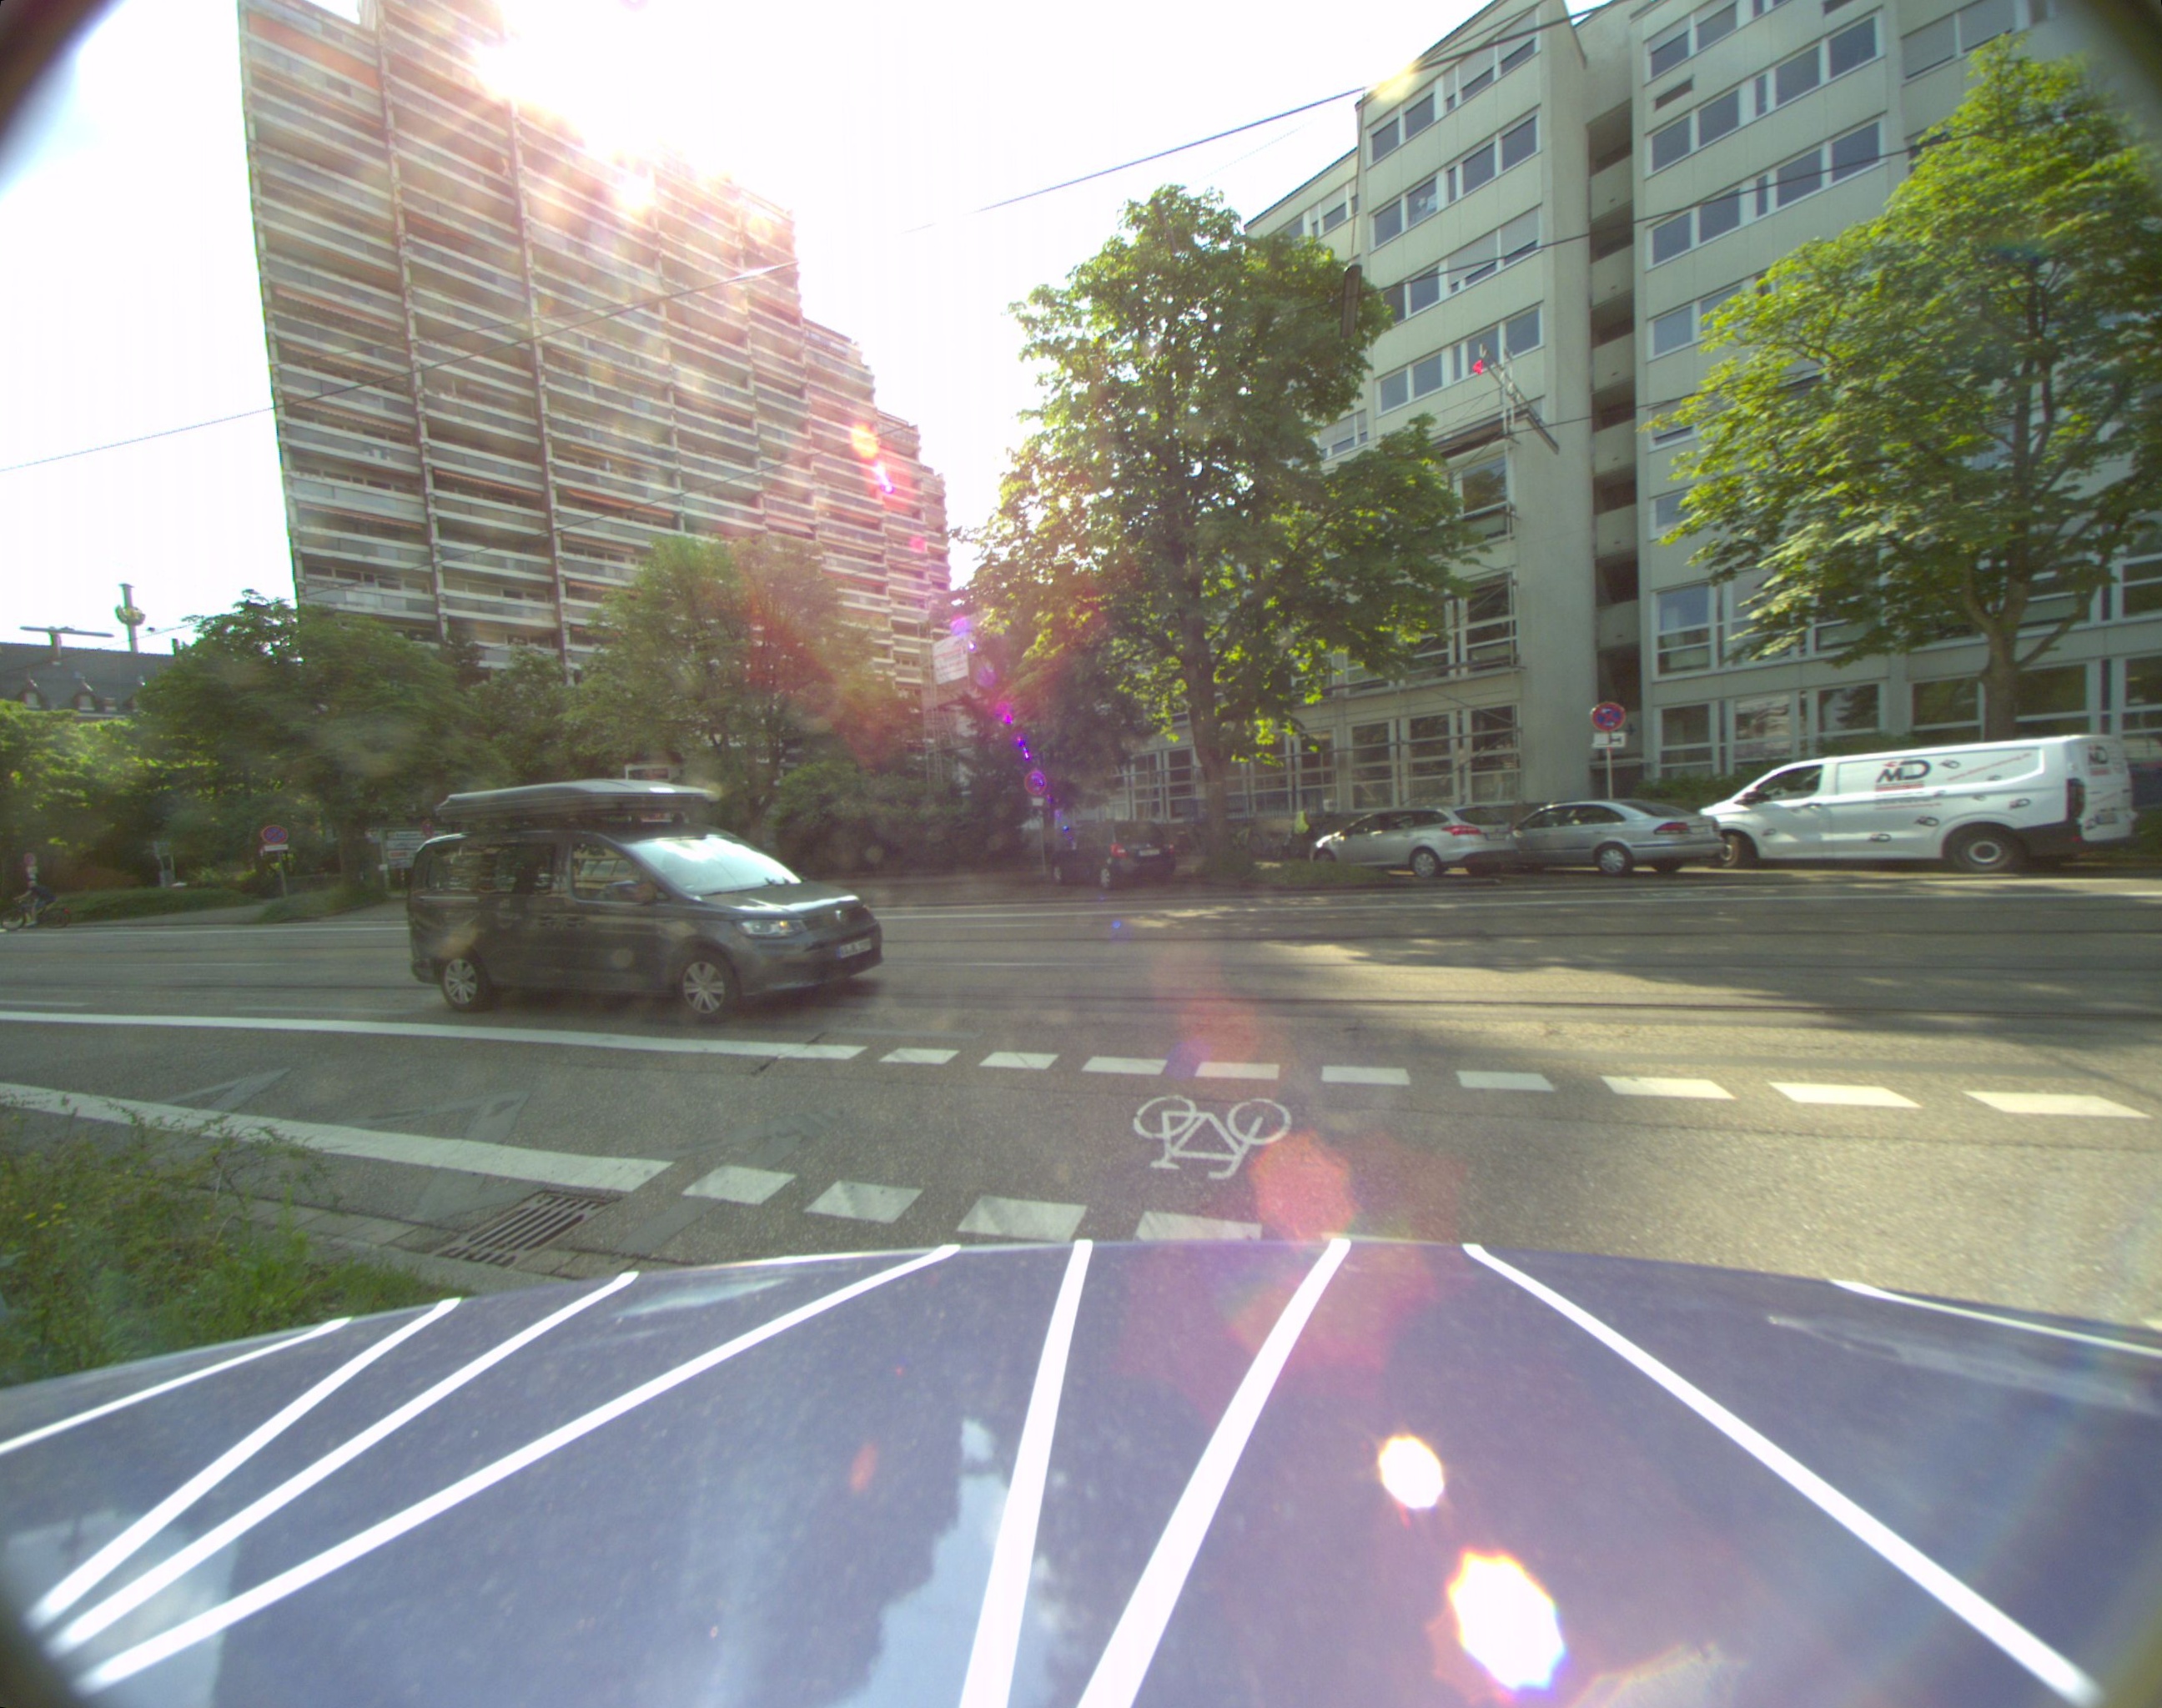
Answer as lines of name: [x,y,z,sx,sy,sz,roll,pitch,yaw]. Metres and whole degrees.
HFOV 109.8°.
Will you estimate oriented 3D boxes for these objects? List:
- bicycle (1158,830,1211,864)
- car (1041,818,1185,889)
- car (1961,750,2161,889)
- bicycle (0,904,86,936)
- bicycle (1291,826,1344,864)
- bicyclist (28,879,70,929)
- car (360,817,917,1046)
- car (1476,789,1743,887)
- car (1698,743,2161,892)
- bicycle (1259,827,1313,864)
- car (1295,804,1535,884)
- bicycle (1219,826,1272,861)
bicycle: [3.492,-0.243,25.547,2.060,1.080,0.496,-1,-1,-42]
car: [0.607,0.042,17.870,1.762,1.453,3.993,-2,-1,-24]
car: [16.499,-0.520,10.990,1.905,1.986,4.565,-2,1,-23]
bicycle: [-37.053,2.340,27.001,1.987,0.974,0.567,-1,-1,-43]
bicycle: [7.094,-0.271,22.735,2.060,1.080,0.496,-1,-1,-42]
bicyclist: [-36.894,1.773,27.171,0.727,1.730,0.779,-2,-1,-43]
car: [-4.315,0.651,7.537,4.827,1.764,1.948,-2,2,18]
car: [9.892,-0.197,14.583,1.728,1.466,3.779,-1,-4,-24]
car: [13.337,-0.516,12.413,1.934,1.901,4.633,-5,2,-22]
bicycle: [6.281,-0.272,23.225,2.060,1.080,0.496,-1,-1,-42]
car: [6.768,-0.116,15.951,1.743,1.417,4.453,-1,-1,-28]
bicycle: [5.281,-0.336,24.330,2.060,1.080,0.496,-1,-1,-42]
